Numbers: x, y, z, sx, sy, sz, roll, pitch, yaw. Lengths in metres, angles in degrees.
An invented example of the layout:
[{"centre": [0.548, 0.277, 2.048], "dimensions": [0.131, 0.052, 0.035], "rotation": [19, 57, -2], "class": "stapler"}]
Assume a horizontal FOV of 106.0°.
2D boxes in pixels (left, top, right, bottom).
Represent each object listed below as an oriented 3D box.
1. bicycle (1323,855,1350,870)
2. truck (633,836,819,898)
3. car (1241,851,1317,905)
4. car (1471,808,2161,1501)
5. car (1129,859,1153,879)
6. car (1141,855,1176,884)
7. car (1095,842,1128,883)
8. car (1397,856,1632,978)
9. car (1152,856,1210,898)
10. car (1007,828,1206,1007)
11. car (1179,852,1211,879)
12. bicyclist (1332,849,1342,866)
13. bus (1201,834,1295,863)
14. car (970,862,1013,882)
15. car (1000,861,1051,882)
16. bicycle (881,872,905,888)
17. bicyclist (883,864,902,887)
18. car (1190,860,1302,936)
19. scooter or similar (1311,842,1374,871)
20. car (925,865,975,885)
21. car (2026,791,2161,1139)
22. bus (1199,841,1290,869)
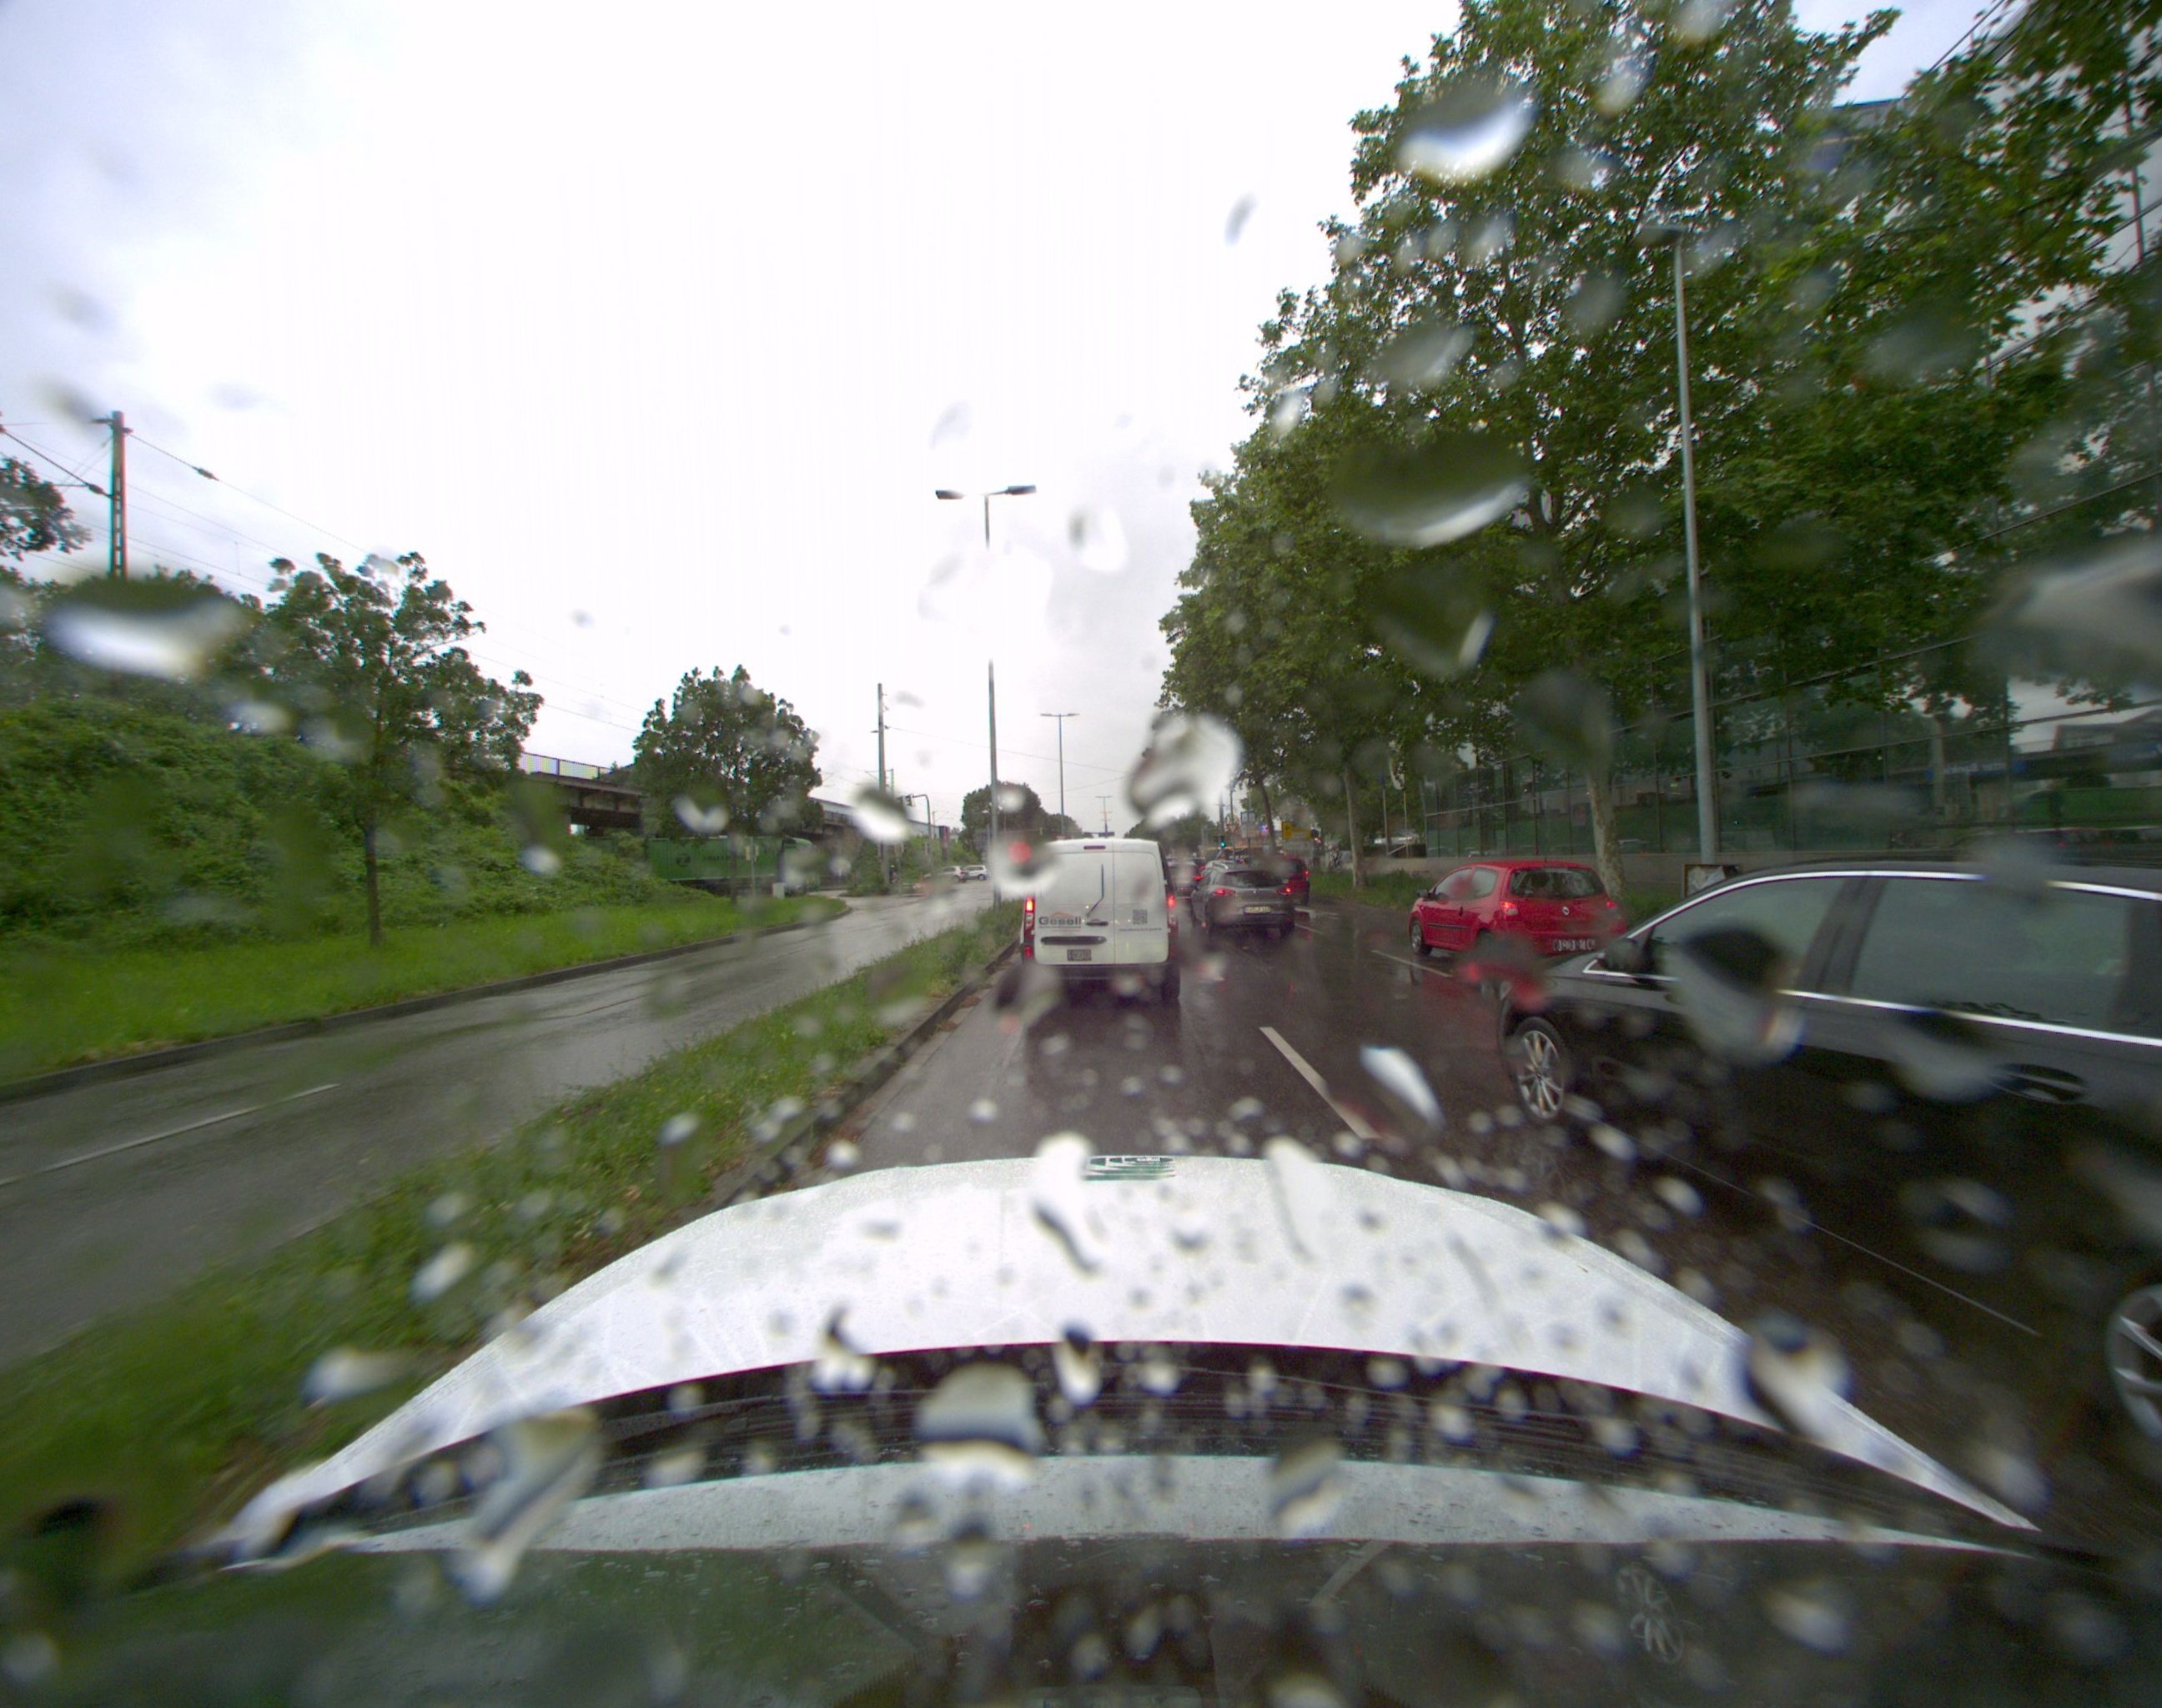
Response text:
[{"centre": [20.608, 0.689, 65.607], "dimensions": [0.613, 1.186, 3.394], "rotation": [-2, -1, 43], "class": "bicycle"}, {"centre": [-21.380, 0.683, 49.581], "dimensions": [10.105, 3.371, 2.322], "rotation": [-1, 0, -35], "class": "truck"}, {"centre": [6.733, 0.810, 28.075], "dimensions": [1.704, 1.694, 4.273], "rotation": [0, -1, 2], "class": "car"}, {"centre": [3.308, 0.668, 3.087], "dimensions": [1.741, 1.554, 4.091], "rotation": [-1, 0, 1], "class": "car"}, {"centre": [5.040, 1.270, 69.163], "dimensions": [1.847, 1.650, 3.844], "rotation": [-1, -1, 2], "class": "car"}, {"centre": [4.646, 0.887, 49.533], "dimensions": [1.847, 1.649, 3.844], "rotation": [-1, 0, 2], "class": "car"}, {"centre": [1.805, 0.478, 48.146], "dimensions": [1.847, 2.296, 3.844], "rotation": [-1, 0, 2], "class": "car"}, {"centre": [5.920, 0.770, 11.575], "dimensions": [1.563, 1.463, 3.390], "rotation": [-1, 0, 1], "class": "car"}, {"centre": [3.743, 0.825, 31.169], "dimensions": [1.847, 1.460, 3.844], "rotation": [-1, 0, 2], "class": "car"}, {"centre": [0.334, 0.657, 10.616], "dimensions": [1.986, 1.776, 4.587], "rotation": [-1, 0, 2], "class": "car"}, {"centre": [7.694, 0.788, 55.219], "dimensions": [1.701, 1.728, 3.844], "rotation": [-1, 0, 2], "class": "car"}, {"centre": [20.634, 0.279, 65.644], "dimensions": [0.613, 1.419, 0.473], "rotation": [-2, -1, 43], "class": "bicyclist"}, {"centre": [22.045, -0.720, 107.894], "dimensions": [11.925, 3.423, 2.316], "rotation": [-2, 0, 1], "class": "bus"}, {"centre": [-8.754, 1.739, 80.031], "dimensions": [3.976, 1.717, 1.999], "rotation": [-3, -1, -2], "class": "car"}, {"centre": [-4.714, 1.508, 69.161], "dimensions": [4.137, 1.651, 1.811], "rotation": [-2, -1, 37], "class": "car"}, {"centre": [-12.310, 1.676, 53.281], "dimensions": [1.045, 0.952, 2.866], "rotation": [-2, 0, -22], "class": "bicycle"}, {"centre": [-12.309, 1.405, 53.223], "dimensions": [1.045, 1.450, 0.723], "rotation": [-2, 0, -23], "class": "bicyclist"}, {"centre": [3.362, 0.843, 17.276], "dimensions": [1.677, 1.408, 3.844], "rotation": [0, 0, 1], "class": "car"}, {"centre": [23.735, 0.250, 74.144], "dimensions": [1.905, 2.446, 5.257], "rotation": [-1, -1, -38], "class": "scooter or similar"}, {"centre": [-11.561, 1.805, 71.769], "dimensions": [3.786, 1.543, 2.008], "rotation": [-3, -1, 15], "class": "car"}, {"centre": [6.015, 0.549, 2.434], "dimensions": [1.668, 1.685, 4.149], "rotation": [0, 0, 2], "class": "car"}, {"centre": [22.354, 0.115, 111.852], "dimensions": [11.939, 3.423, 2.481], "rotation": [-2, 0, -2], "class": "bus"}]
